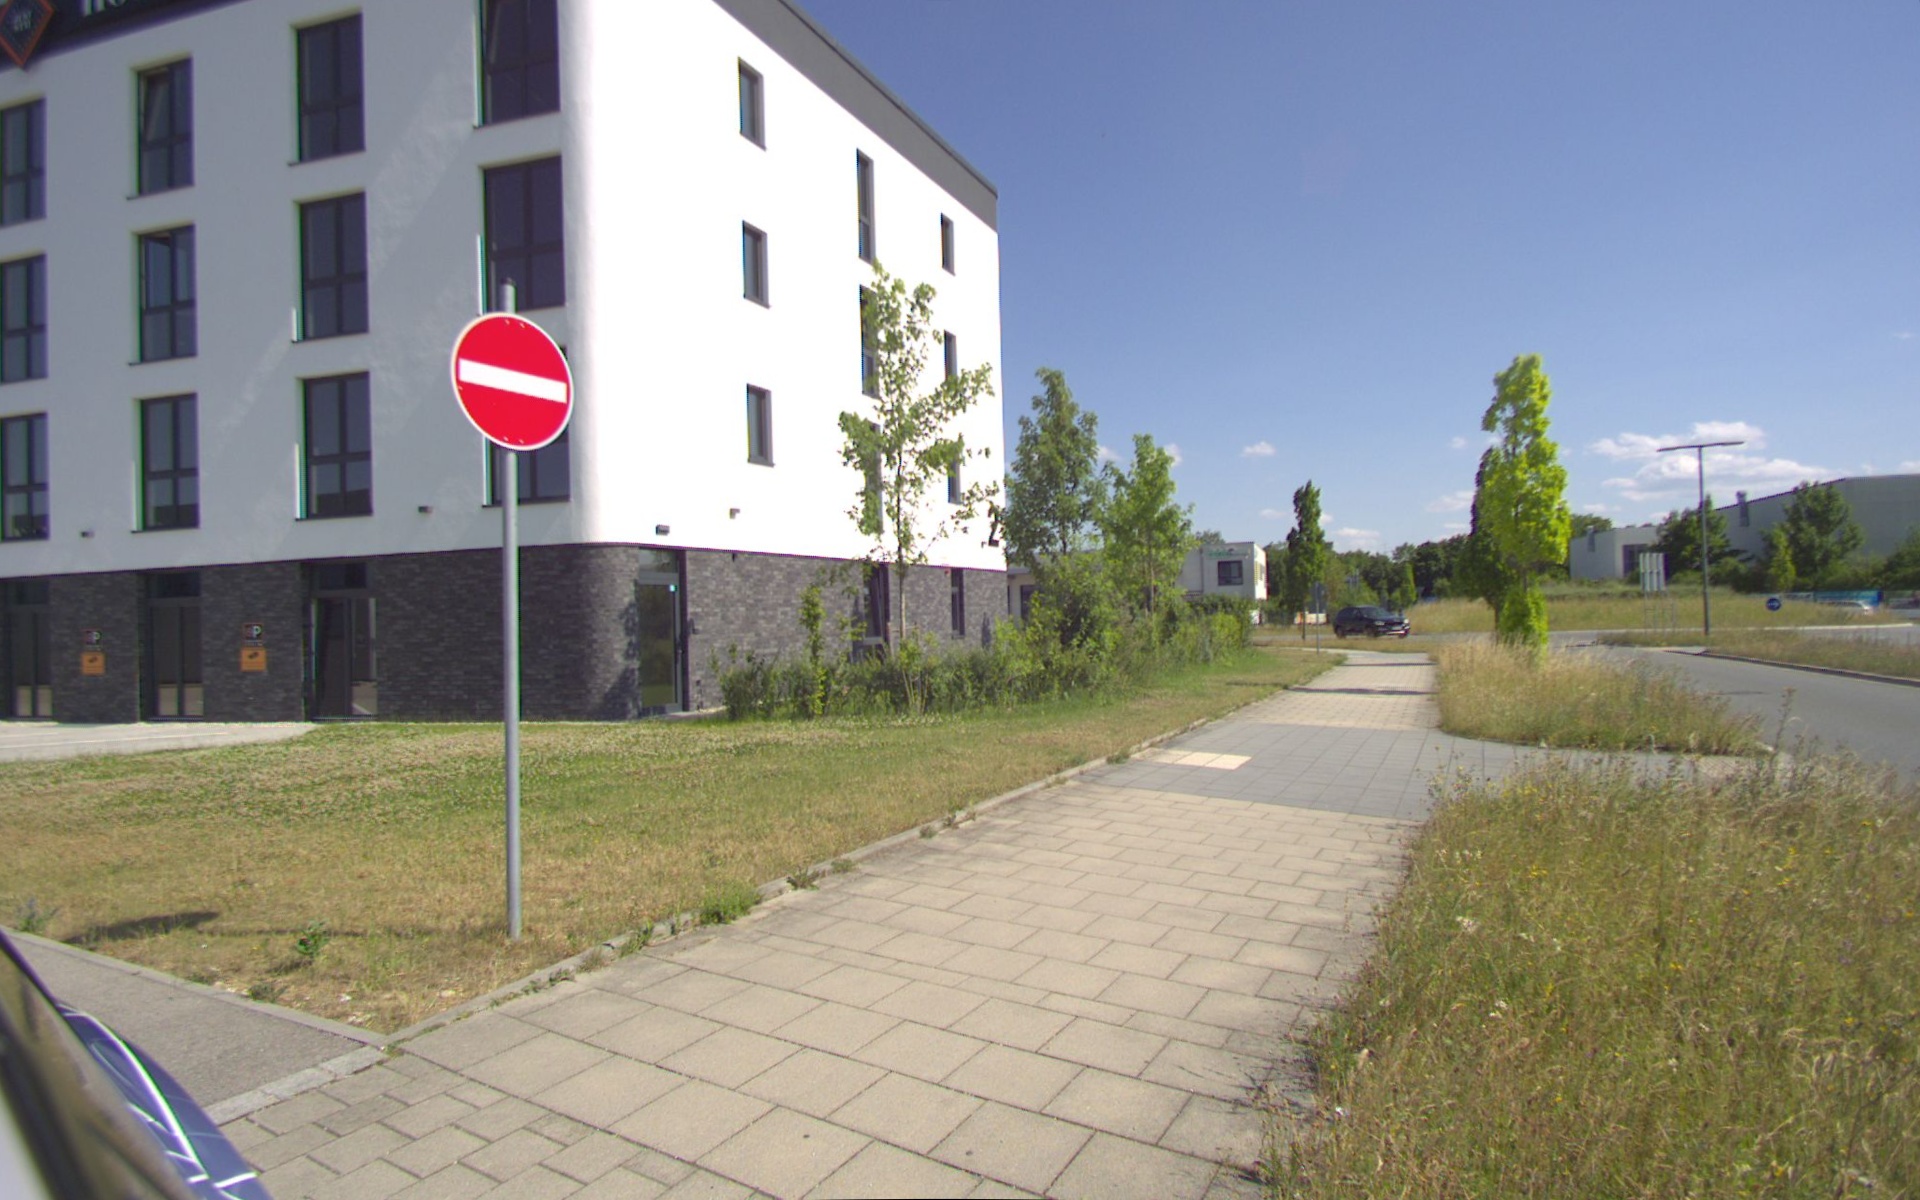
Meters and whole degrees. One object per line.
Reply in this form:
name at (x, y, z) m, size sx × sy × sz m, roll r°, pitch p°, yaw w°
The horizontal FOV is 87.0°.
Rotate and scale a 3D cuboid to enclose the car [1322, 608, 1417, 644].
car at (20.132, 1.296, 49.951) m, size 1.811 × 1.586 × 4.012 m, roll -2°, pitch -2°, yaw -30°
